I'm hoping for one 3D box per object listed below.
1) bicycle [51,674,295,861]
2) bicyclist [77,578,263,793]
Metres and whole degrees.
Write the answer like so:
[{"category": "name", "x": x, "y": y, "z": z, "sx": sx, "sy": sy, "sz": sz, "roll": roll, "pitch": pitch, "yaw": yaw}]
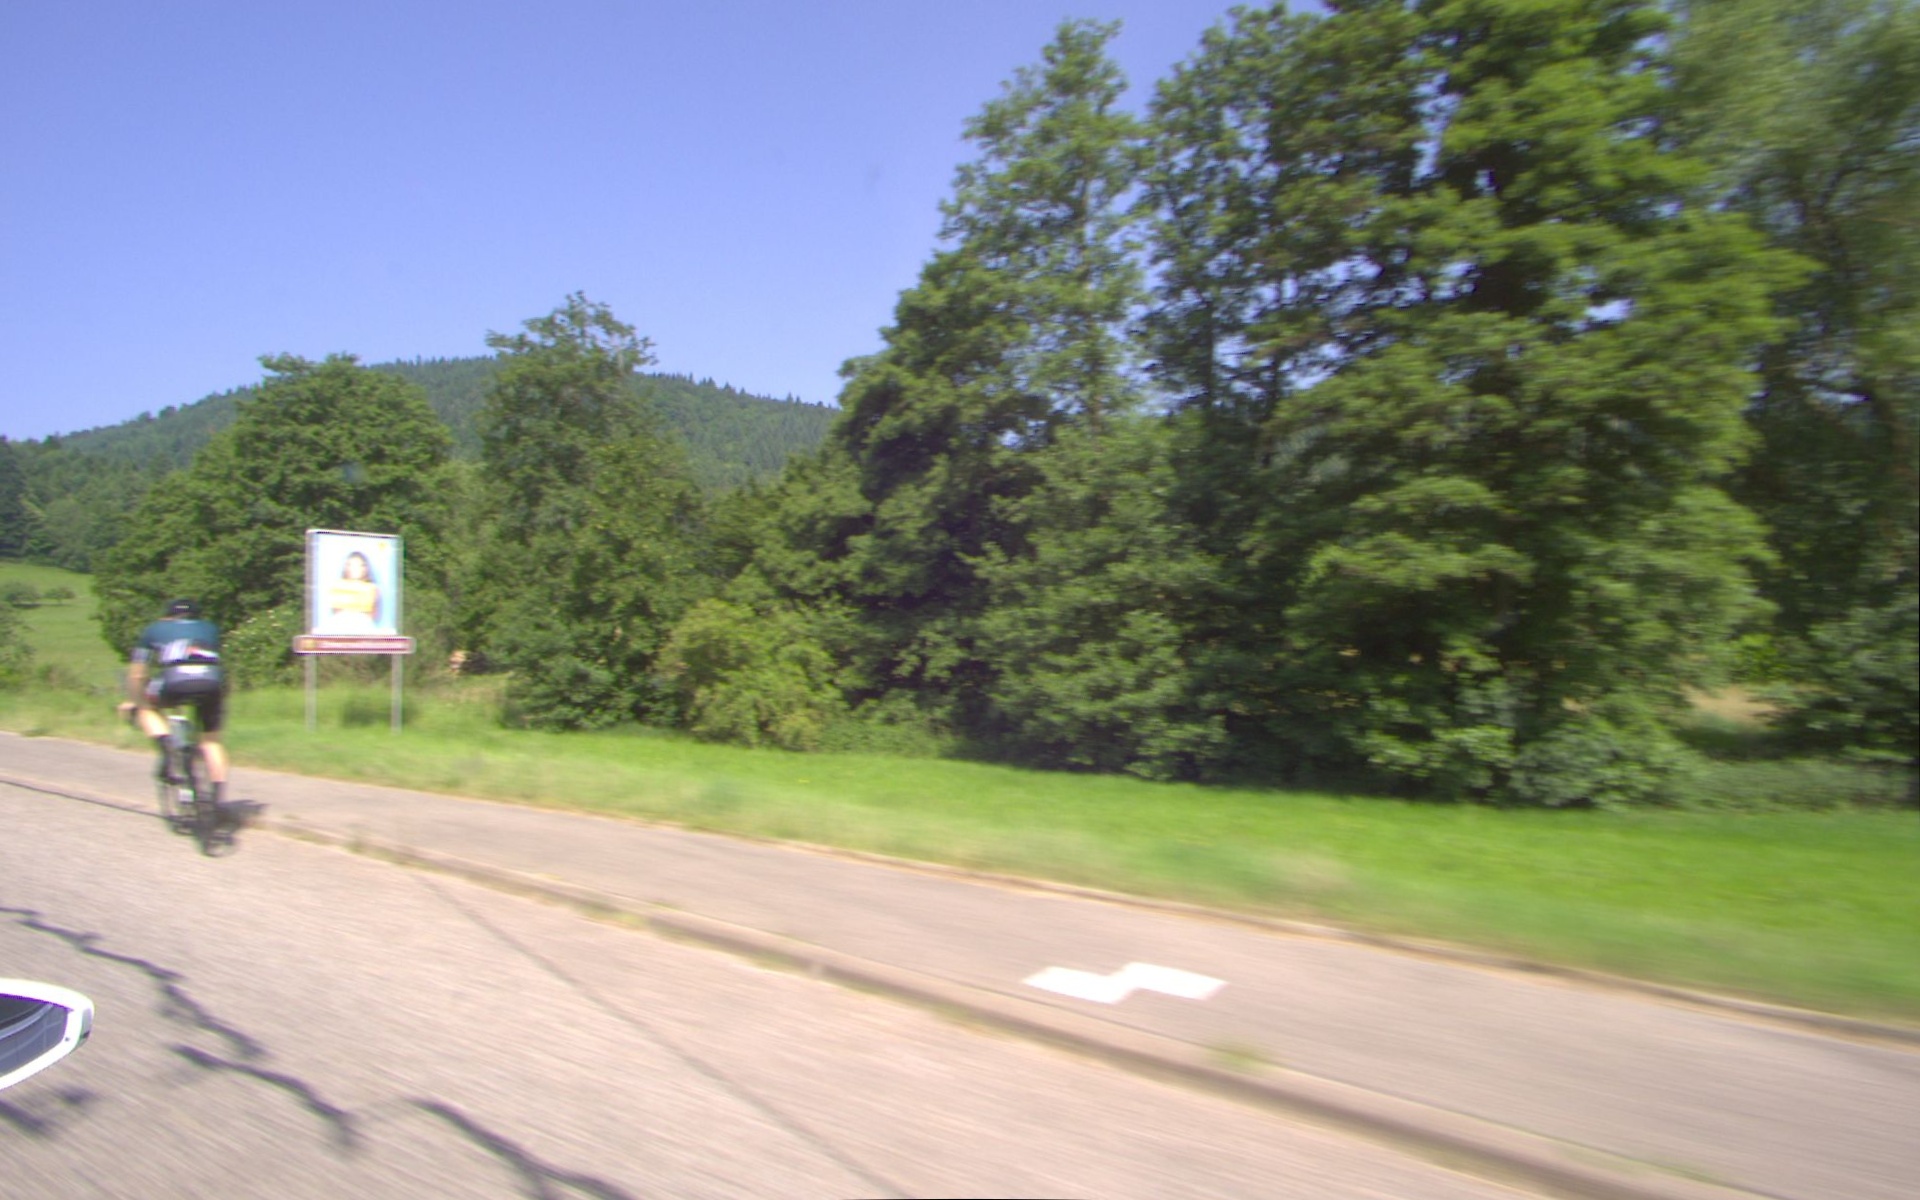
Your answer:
[{"category": "bicycle", "x": -5.431, "y": 1.085, "z": 6.878, "sx": 1.960, "sy": 1.049, "sz": 0.579, "roll": 0, "pitch": 1, "yaw": 29}, {"category": "bicyclist", "x": -5.389, "y": 0.541, "z": 6.834, "sx": 1.127, "sy": 1.360, "sz": 0.579, "roll": 0, "pitch": 1, "yaw": 29}]
